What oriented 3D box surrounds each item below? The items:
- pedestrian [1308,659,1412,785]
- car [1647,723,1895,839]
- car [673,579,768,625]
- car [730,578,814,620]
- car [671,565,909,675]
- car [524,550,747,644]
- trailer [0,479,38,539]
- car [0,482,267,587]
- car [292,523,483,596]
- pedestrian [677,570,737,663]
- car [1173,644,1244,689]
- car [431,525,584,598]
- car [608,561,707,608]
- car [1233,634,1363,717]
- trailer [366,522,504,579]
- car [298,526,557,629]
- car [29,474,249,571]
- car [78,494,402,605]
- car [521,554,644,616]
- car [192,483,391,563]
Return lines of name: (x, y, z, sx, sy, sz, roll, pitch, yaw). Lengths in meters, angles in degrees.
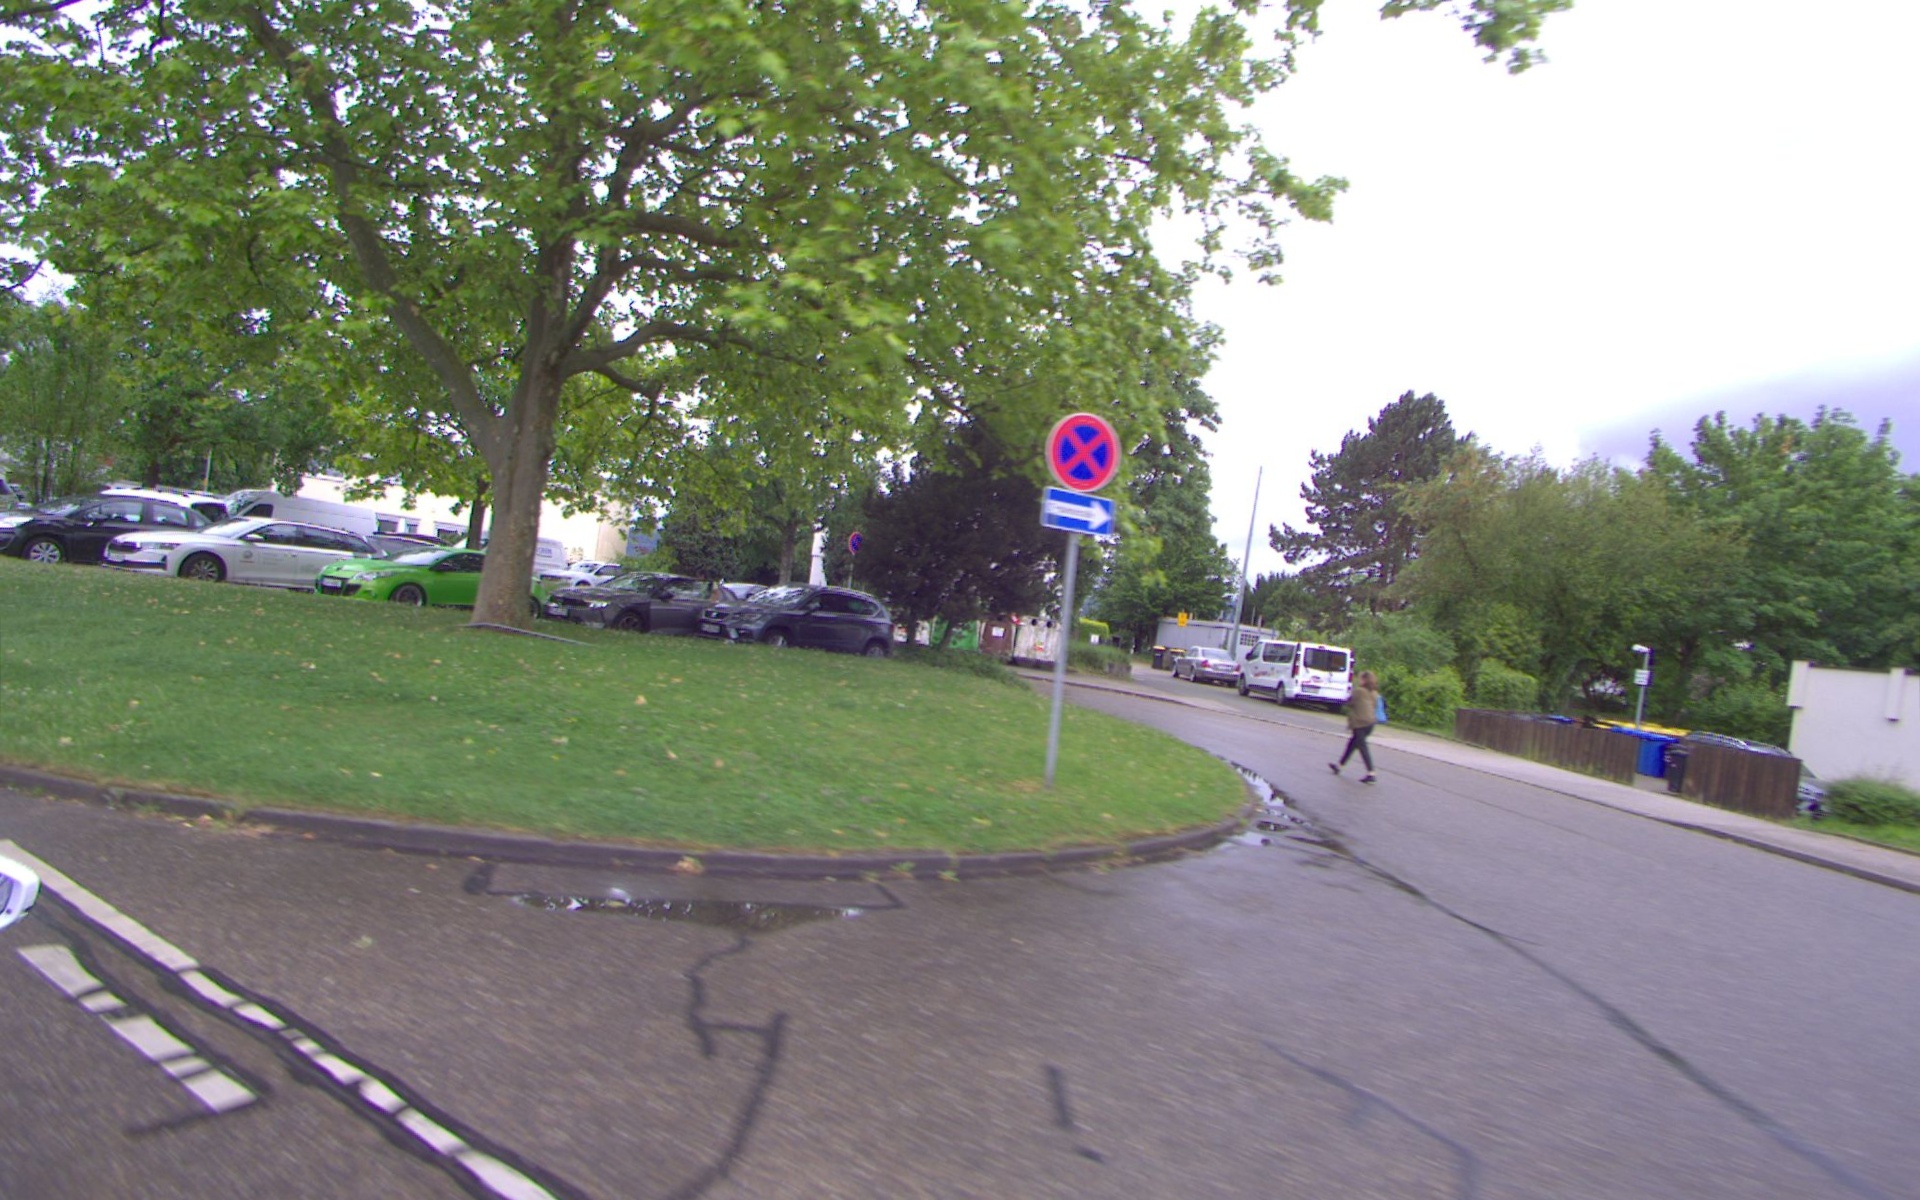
pedestrian: (5.631, 1.707, 14.194, 0.729, 1.602, 0.944, 7, 0, -26)
car: (20.106, 4.418, 25.325, 1.966, 1.845, 4.929, 7, 0, -1)
car: (-8.411, 0.101, 35.575, 1.556, 1.245, 3.299, 7, -1, 22)
car: (-9.126, -0.010, 49.069, 1.674, 1.548, 3.635, 7, -1, 43)
car: (-3.168, 0.444, 19.465, 1.740, 1.647, 4.273, 7, 0, 41)
car: (-6.151, 0.009, 19.544, 1.733, 1.388, 4.019, 7, 0, 26)
trailer: (-27.989, -2.762, 27.033, 4.346, 1.562, 1.999, 7, 0, -3)
car: (-16.045, -1.226, 18.940, 1.733, 1.460, 4.583, 7, 0, 26)
car: (-15.712, -1.087, 27.781, 4.112, 1.399, 1.765, 7, 0, -4)
pedestrian: (-4.867, 0.324, 19.378, 0.578, 1.672, 0.738, 8, 1, 34)
car: (9.976, 2.647, 40.642, 1.725, 1.384, 4.000, 7, -1, 0)
car: (-16.160, -1.326, 36.219, 1.964, 2.038, 4.762, 7, 0, 24)
car: (-10.744, -0.511, 35.982, 1.556, 1.245, 3.299, 7, -1, 22)
car: (10.490, 2.268, 31.687, 2.048, 2.038, 4.995, 7, 0, -1)
trailer: (-18.797, -1.741, 36.154, 1.684, 1.454, 3.992, 7, -1, 32)
car: (-9.950, -0.355, 19.155, 1.733, 1.460, 4.019, 7, 0, 26)
car: (-22.084, -2.046, 27.197, 4.134, 1.904, 2.000, 7, 0, 1)
car: (-13.238, -0.845, 18.868, 1.733, 1.460, 4.583, 7, 0, 26)
car: (-13.557, -0.501, 36.371, 1.792, 1.796, 3.900, 7, 0, 24)
car: (-24.030, -2.713, 36.528, 1.963, 2.038, 5.838, 7, 0, 21)
